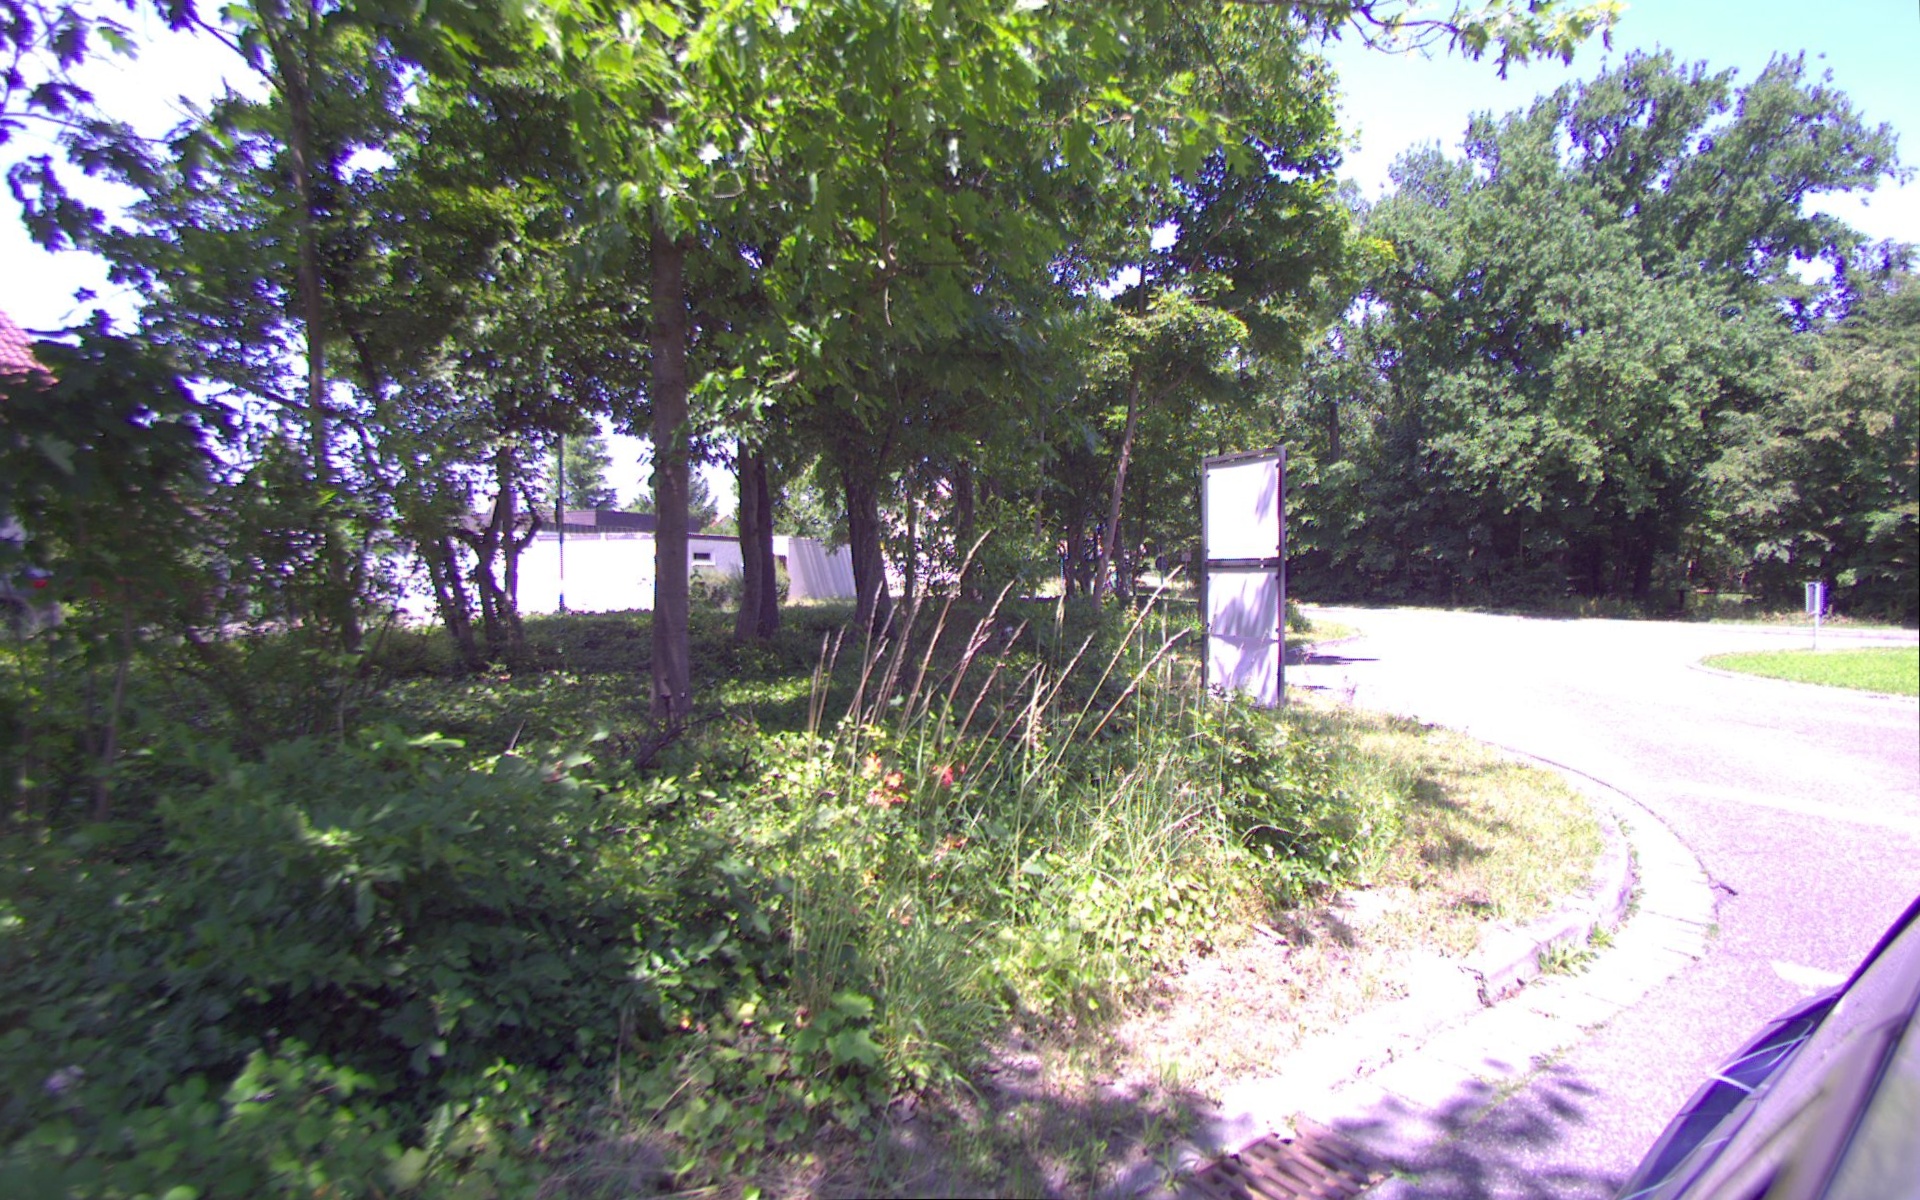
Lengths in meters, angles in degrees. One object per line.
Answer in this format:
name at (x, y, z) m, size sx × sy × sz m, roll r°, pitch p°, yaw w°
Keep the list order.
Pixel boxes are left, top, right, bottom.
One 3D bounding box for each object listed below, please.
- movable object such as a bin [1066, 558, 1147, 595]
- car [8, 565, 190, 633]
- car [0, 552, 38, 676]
movable object such as a bin at (9.557, -1.559, 66.513) m, size 2.474 × 2.305 × 5.243 m, roll 0°, pitch 1°, yaw -32°
car at (-19.061, -0.065, 22.410) m, size 3.653 × 1.403 × 1.671 m, roll 1°, pitch 1°, yaw 24°
car at (-14.627, 0.221, 12.807) m, size 1.645 × 1.726 × 4.118 m, roll 0°, pitch 1°, yaw 19°
